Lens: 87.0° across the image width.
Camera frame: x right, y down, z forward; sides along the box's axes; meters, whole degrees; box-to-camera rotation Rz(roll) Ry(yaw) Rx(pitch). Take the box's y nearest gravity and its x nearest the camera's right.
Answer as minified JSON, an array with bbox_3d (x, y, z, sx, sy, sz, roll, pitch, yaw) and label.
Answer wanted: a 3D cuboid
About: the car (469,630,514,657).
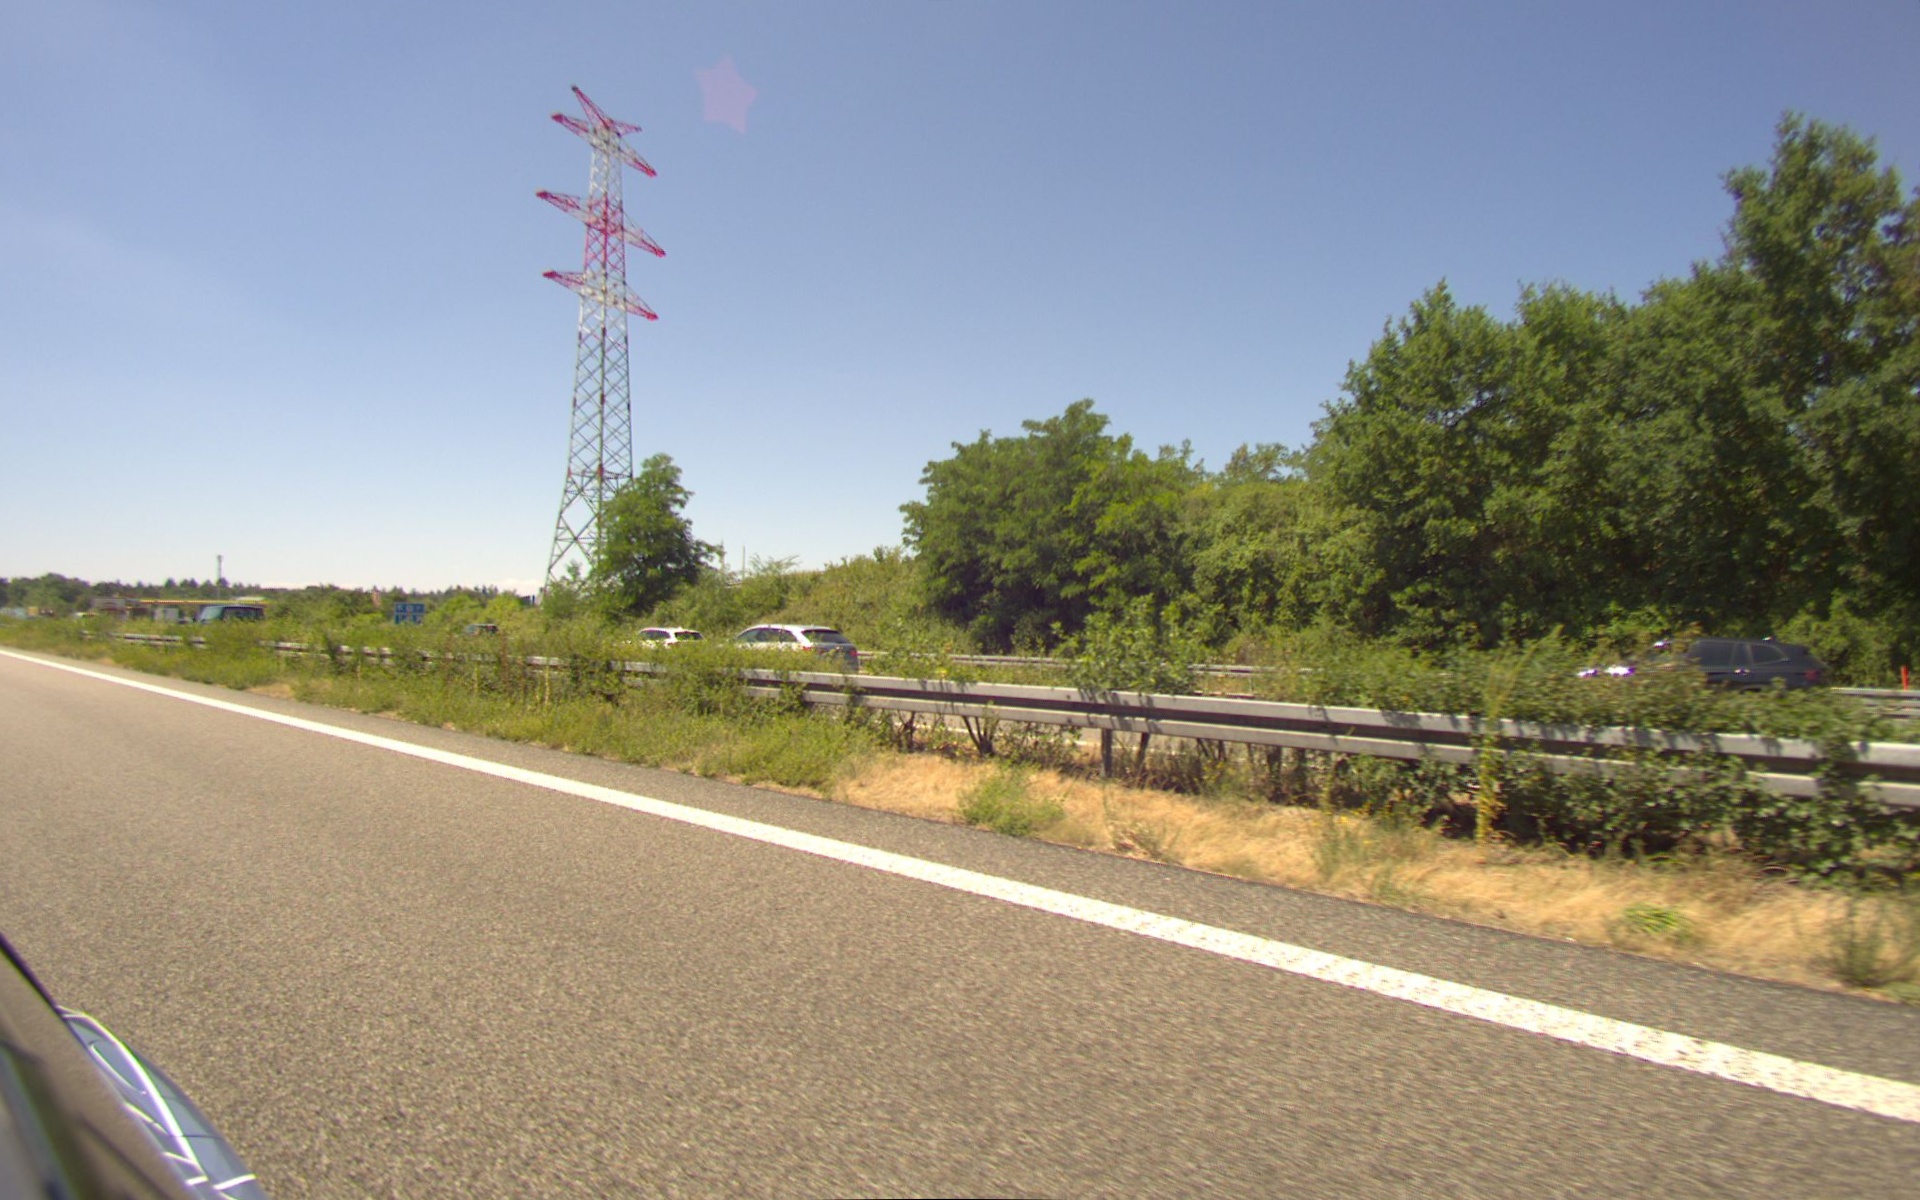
[{"bbox_3d":[-29.610,2.723,63.898,3.362,1.625,1.359,-1,0,42],"label":"car"}]

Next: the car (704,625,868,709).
[{"bbox_3d":[-4.258,1.522,24.345,4.235,1.781,1.682,-1,0,43],"label":"car"}]

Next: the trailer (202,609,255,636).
[{"bbox_3d":[-119.247,3.559,165.250,3.078,4.086,11.345,-1,0,-15],"label":"trailer"}]

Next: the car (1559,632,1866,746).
[{"bbox_3d":[13.818,1.525,18.764,4.403,1.781,1.682,-1,0,43],"label":"car"}]

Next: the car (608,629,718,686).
[{"bbox_3d":[-10.764,2.010,36.512,4.255,1.851,1.784,-1,0,41],"label":"car"}]

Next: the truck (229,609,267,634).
[{"bbox_3d":[-121.053,3.566,172.135,3.075,4.080,6.664,-1,0,-14],"label":"truck"}]

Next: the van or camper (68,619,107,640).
[{"bbox_3d":[-84.403,2.859,97.873,5.309,1.870,2.103,-1,-4,42],"label":"van or camper"}]

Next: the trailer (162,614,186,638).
[{"bbox_3d":[-164.516,5.369,211.873,3.257,4.911,9.708,-1,0,-34],"label":"trailer"}]

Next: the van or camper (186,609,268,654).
[{"bbox_3d":[-31.893,1.354,43.979,4.872,1.826,1.825,-1,0,41],"label":"van or camper"}]
